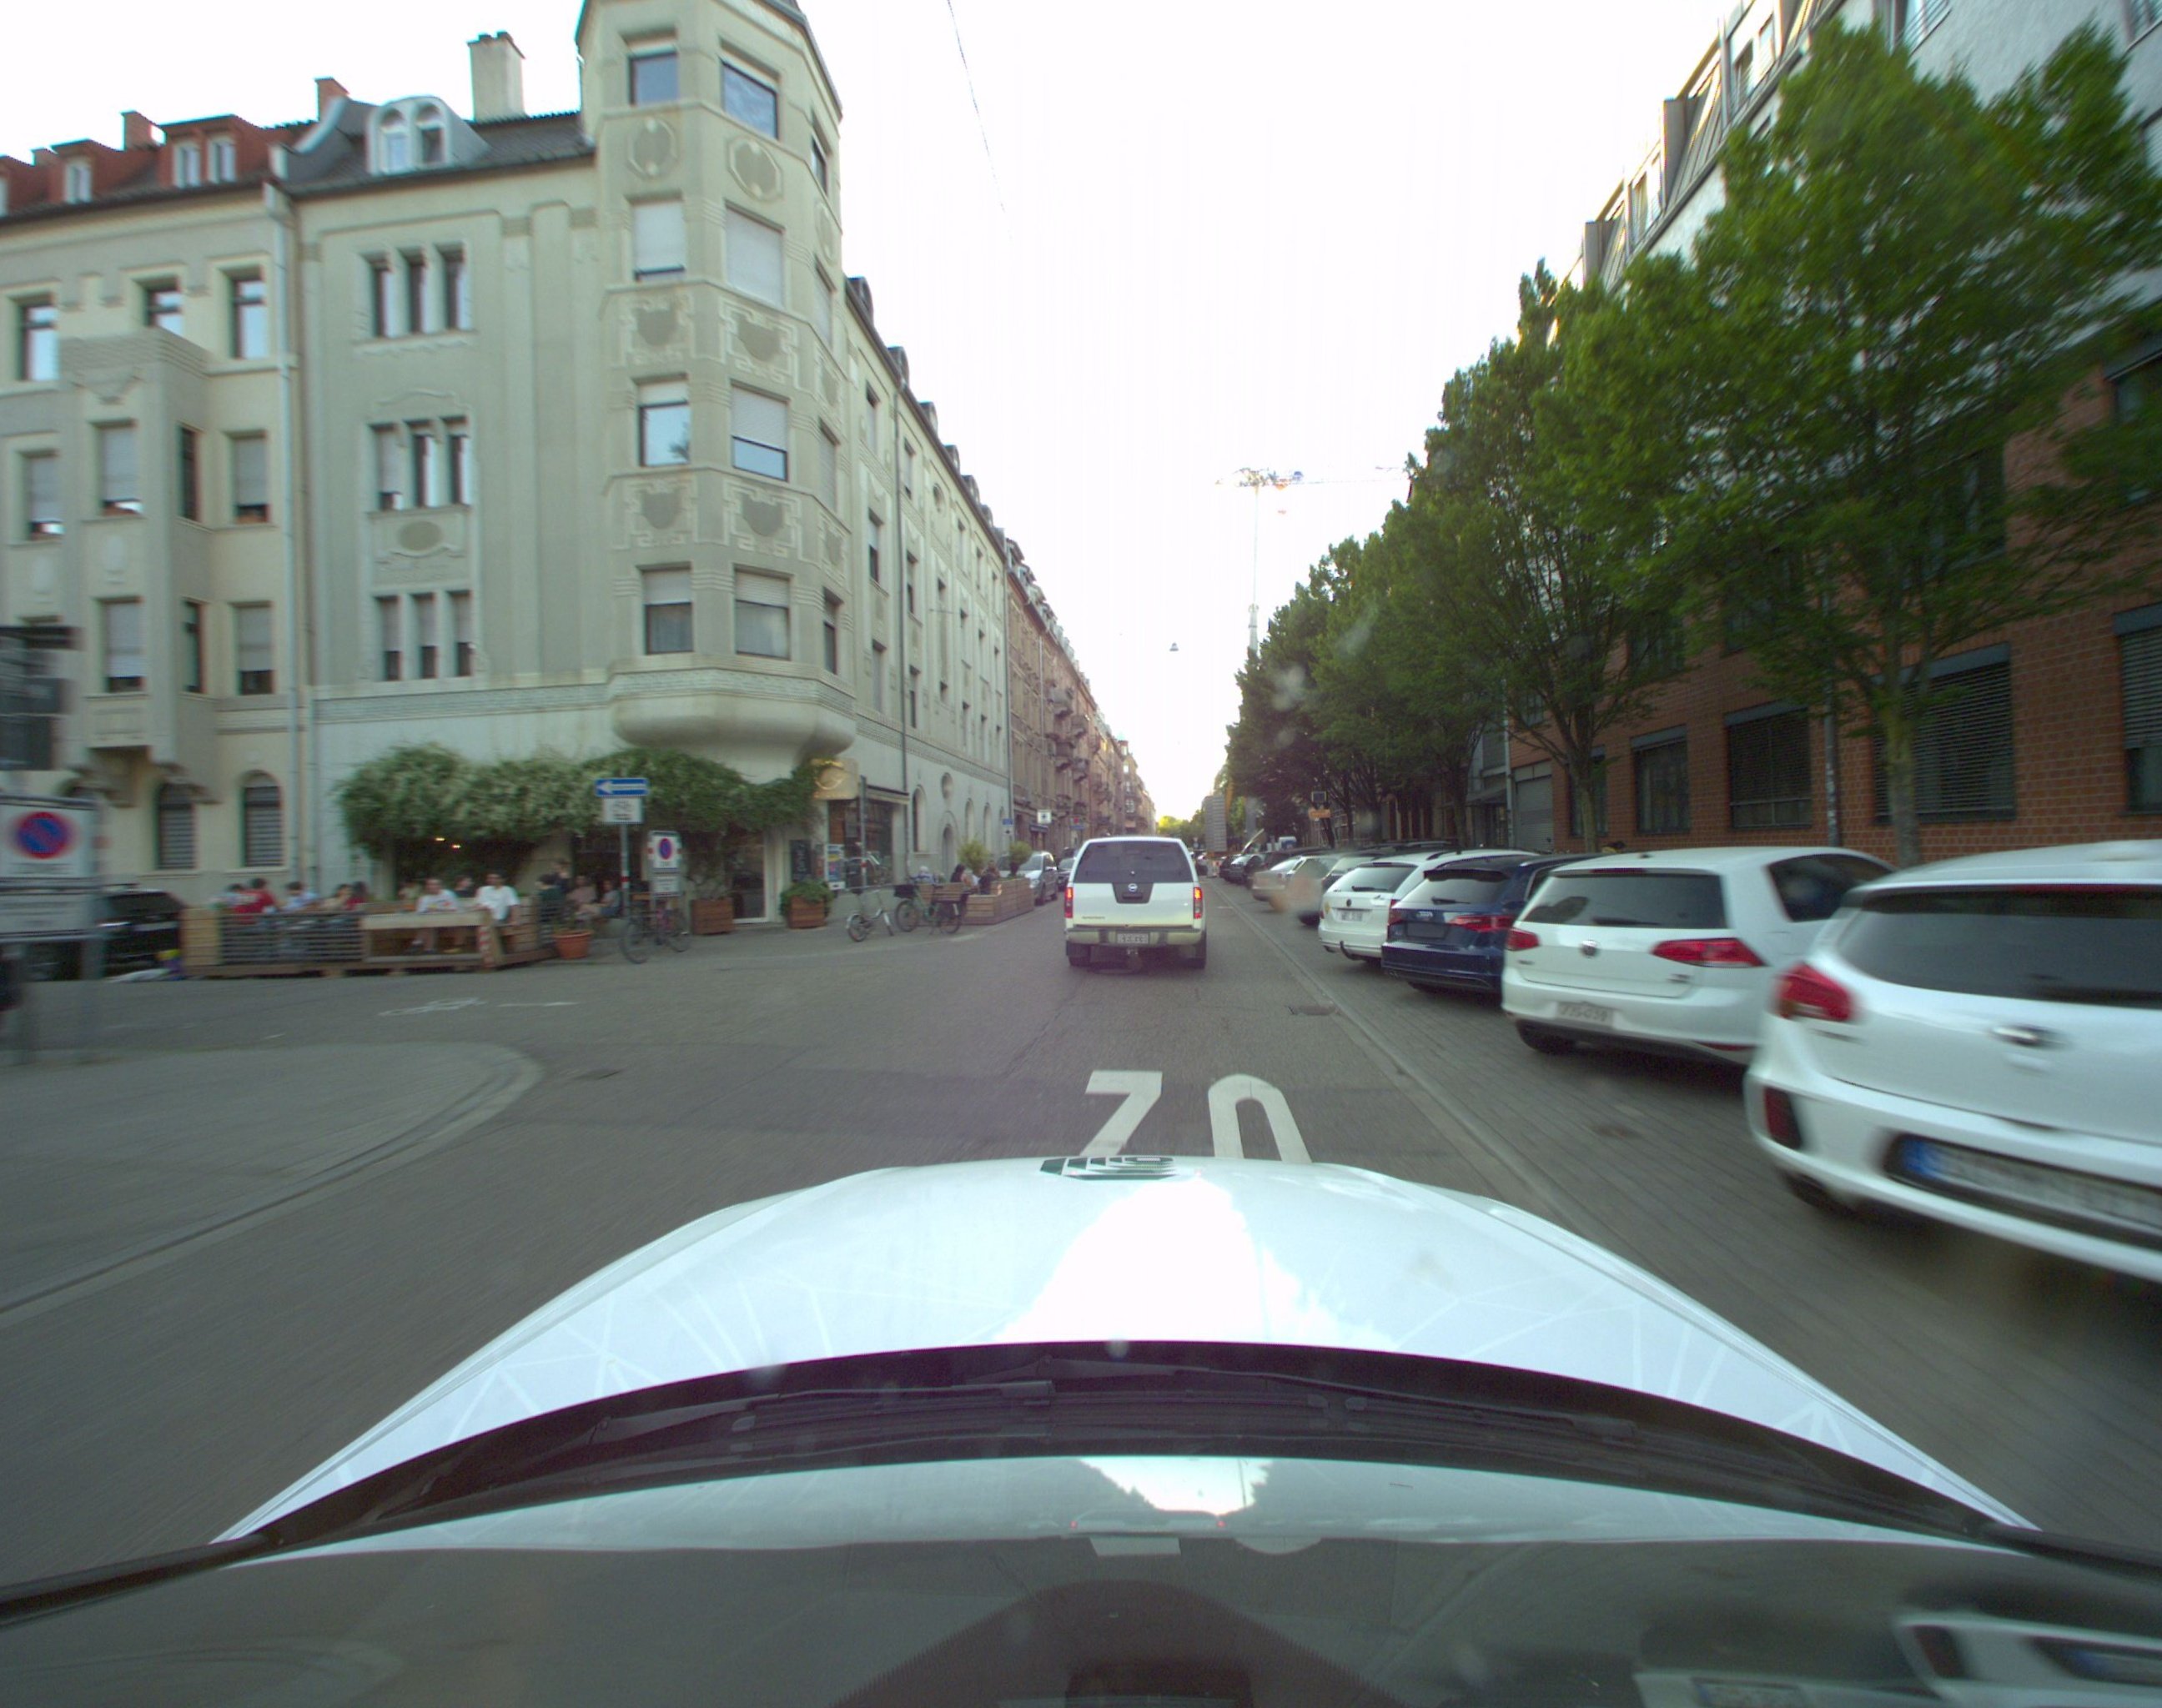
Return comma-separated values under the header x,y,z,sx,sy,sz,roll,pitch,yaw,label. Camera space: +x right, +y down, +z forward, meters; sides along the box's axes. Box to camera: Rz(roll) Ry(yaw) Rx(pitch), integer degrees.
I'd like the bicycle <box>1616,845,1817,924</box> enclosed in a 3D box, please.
x,y,z,sx,sy,sz,roll,pitch,yaw,label
9.976,0.481,12.863,2.519,1.166,0.563,-2,0,9,bicycle

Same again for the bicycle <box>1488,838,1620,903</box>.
x,y,z,sx,sy,sz,roll,pitch,yaw,label
10.665,0.377,18.432,2.519,1.379,0.601,-2,0,9,bicycle

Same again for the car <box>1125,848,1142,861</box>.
x,y,z,sx,sy,sz,roll,pitch,yaw,label
6.207,0.062,95.984,1.701,1.530,4.008,-1,0,7,car

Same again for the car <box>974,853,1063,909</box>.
x,y,z,sx,sy,sz,roll,pitch,yaw,label
-1.884,0.785,25.949,1.983,1.591,4.322,-2,0,6,car

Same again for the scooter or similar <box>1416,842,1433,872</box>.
x,y,z,sx,sy,sz,roll,pitch,yaw,label
14.317,0.109,33.917,0.365,1.218,1.714,-5,-2,30,scooter or similar

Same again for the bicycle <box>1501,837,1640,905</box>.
x,y,z,sx,sy,sz,roll,pitch,yaw,label
10.605,0.376,17.719,2.519,1.379,0.601,-2,0,9,bicycle

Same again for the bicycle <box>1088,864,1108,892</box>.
x,y,z,sx,sy,sz,roll,pitch,yaw,label
0.694,0.958,32.587,0.611,1.040,1.907,-2,0,7,bicycle

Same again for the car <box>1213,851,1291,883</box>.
x,y,z,sx,sy,sz,roll,pitch,yaw,label
8.758,0.645,41.703,3.908,1.530,1.621,-1,0,-33,car

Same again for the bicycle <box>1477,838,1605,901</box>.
x,y,z,sx,sy,sz,roll,pitch,yaw,label
10.724,0.373,19.046,2.519,1.379,0.601,-2,0,9,bicycle

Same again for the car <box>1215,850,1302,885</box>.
x,y,z,sx,sy,sz,roll,pitch,yaw,label
8.497,0.609,38.984,3.847,1.436,1.746,-3,1,-28,car

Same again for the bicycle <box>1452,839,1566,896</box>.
x,y,z,sx,sy,sz,roll,pitch,yaw,label
11.102,0.348,21.192,2.519,1.379,0.601,-2,0,9,bicycle

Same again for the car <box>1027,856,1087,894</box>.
x,y,z,sx,sy,sz,roll,pitch,yaw,label
-0.933,0.852,34.769,1.901,1.472,4.542,-1,0,7,car

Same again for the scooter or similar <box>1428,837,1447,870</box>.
x,y,z,sx,sy,sz,roll,pitch,yaw,label
14.262,-0.029,32.586,0.408,1.218,1.784,-7,-2,18,scooter or similar

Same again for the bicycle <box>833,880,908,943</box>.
x,y,z,sx,sy,sz,roll,pitch,yaw,label
-3.919,1.053,15.266,0.419,1.012,1.727,-1,1,20,bicycle

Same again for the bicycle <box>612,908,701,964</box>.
x,y,z,sx,sy,sz,roll,pitch,yaw,label
-7.119,1.351,13.753,0.421,0.695,1.782,-1,2,4,bicycle

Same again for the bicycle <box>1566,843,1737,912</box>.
x,y,z,sx,sy,sz,roll,pitch,yaw,label
10.273,0.424,14.727,2.519,1.166,0.563,-2,0,9,bicycle

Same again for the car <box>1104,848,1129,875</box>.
x,y,z,sx,sy,sz,roll,pitch,yaw,label
2.644,0.546,60.123,1.551,1.921,3.863,0,0,6,car

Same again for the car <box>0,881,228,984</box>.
x,y,z,sx,sy,sz,roll,pitch,yaw,label
-17.686,1.354,14.169,4.115,1.618,1.743,-2,-3,6,car

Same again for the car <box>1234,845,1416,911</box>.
x,y,z,sx,sy,sz,roll,pitch,yaw,label
6.496,0.597,21.740,4.384,1.534,1.796,-2,0,-18,car

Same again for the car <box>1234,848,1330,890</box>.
x,y,z,sx,sy,sz,roll,pitch,yaw,label
8.162,0.588,33.079,3.413,1.474,1.760,-3,1,-25,car

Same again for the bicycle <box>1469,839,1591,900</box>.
x,y,z,sx,sy,sz,roll,pitch,yaw,label
10.881,0.373,19.791,2.519,1.379,0.601,-2,0,9,bicycle

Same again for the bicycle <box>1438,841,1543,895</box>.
x,y,z,sx,sy,sz,roll,pitch,yaw,label
11.312,0.388,22.572,2.519,1.379,0.601,-2,0,9,bicycle

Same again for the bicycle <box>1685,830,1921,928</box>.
x,y,z,sx,sy,sz,roll,pitch,yaw,label
9.720,0.340,11.046,2.332,1.099,0.682,-5,-1,9,bicycle

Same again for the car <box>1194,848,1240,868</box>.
x,y,z,sx,sy,sz,roll,pitch,yaw,label
12.754,0.361,76.577,4.170,1.780,1.824,-1,0,9,car

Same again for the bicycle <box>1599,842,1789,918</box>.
x,y,z,sx,sy,sz,roll,pitch,yaw,label
10.102,0.437,13.491,2.519,1.166,0.563,-2,0,9,bicycle

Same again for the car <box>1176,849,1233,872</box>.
x,y,z,sx,sy,sz,roll,pitch,yaw,label
9.608,0.501,63.238,4.167,1.780,1.826,-1,0,12,car

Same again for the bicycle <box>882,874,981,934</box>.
x,y,z,sx,sy,sz,roll,pitch,yaw,label
-2.969,0.957,16.058,2.089,1.095,0.504,-1,1,31,bicycle

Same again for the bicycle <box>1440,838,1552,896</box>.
x,y,z,sx,sy,sz,roll,pitch,yaw,label
11.171,0.352,22.000,2.520,1.244,0.601,-7,-1,9,bicycle

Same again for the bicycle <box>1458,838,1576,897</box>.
x,y,z,sx,sy,sz,roll,pitch,yaw,label
10.942,0.342,20.500,2.519,1.379,0.601,-2,0,9,bicycle

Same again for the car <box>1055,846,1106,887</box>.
x,y,z,sx,sy,sz,roll,pitch,yaw,label
0.051,0.576,40.755,1.894,1.925,4.957,-1,0,7,car

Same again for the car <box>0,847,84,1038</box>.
x,y,z,sx,sy,sz,roll,pitch,yaw,label
-12.497,0.922,7.850,3.962,1.844,1.896,-2,0,10,car

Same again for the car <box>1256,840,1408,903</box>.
x,y,z,sx,sy,sz,roll,pitch,yaw,label
7.538,0.511,24.570,3.992,1.636,1.751,-3,0,-13,car
